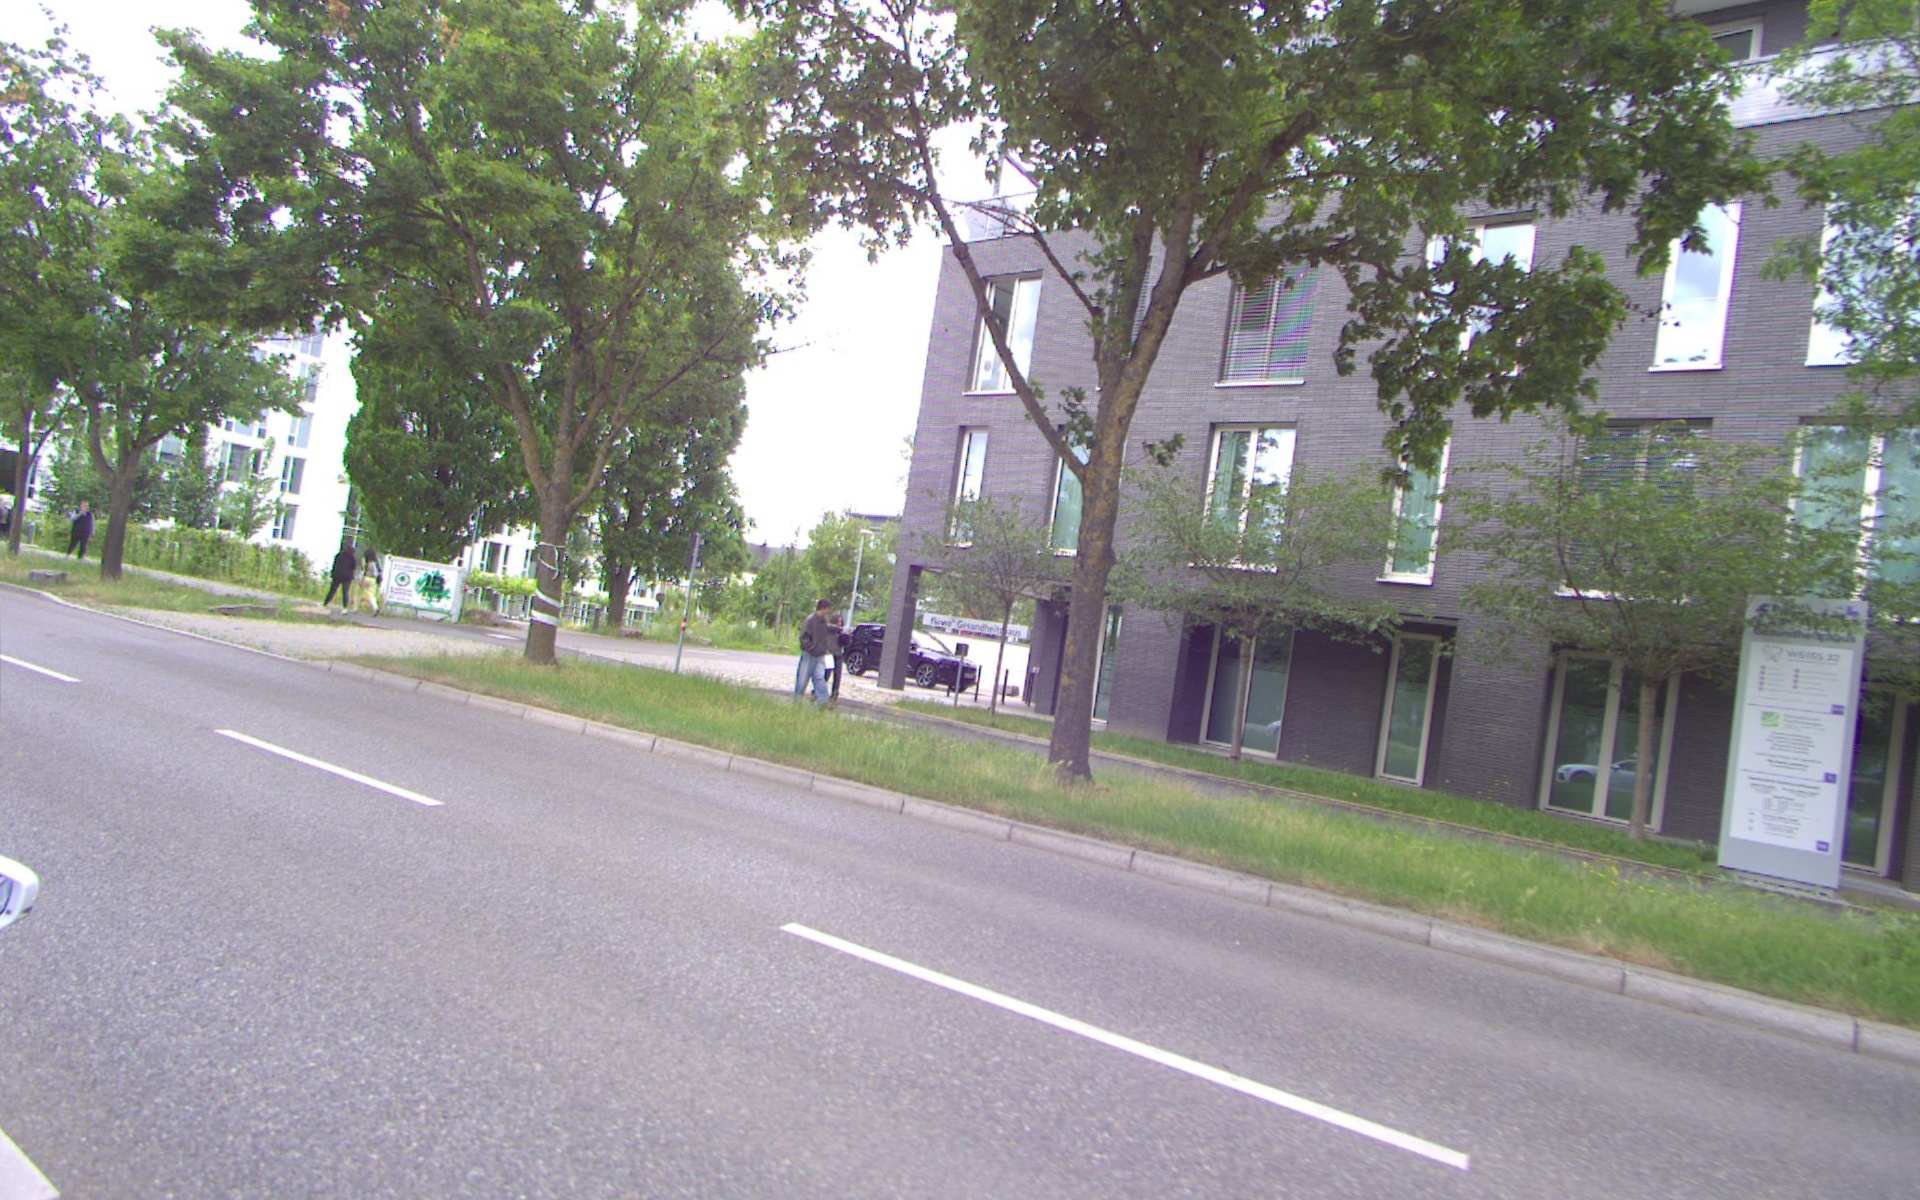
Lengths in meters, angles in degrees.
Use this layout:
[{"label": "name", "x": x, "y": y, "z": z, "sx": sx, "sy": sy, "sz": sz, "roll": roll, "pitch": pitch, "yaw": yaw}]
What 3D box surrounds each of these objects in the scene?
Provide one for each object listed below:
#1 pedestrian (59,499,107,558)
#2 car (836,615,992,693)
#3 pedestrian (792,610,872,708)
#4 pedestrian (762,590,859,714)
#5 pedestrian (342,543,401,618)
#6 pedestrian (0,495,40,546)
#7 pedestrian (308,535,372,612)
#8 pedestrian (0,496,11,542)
[{"label": "pedestrian", "x": -25.559, "y": -2.077, "z": 29.309, "sx": 0.663, "sy": 1.592, "sz": 0.743, "roll": 6, "pitch": -2, "yaw": 31}, {"label": "car", "x": -1.348, "y": 1.551, "z": 28.935, "sx": 4.081, "sy": 1.665, "sz": 1.759, "roll": 6, "pitch": -3, "yaw": 32}, {"label": "pedestrian", "x": -2.225, "y": 1.032, "z": 17.538, "sx": 0.861, "sy": 1.575, "sz": 0.834, "roll": 6, "pitch": -2, "yaw": 33}, {"label": "pedestrian", "x": -2.461, "y": 0.861, "z": 16.589, "sx": 0.963, "sy": 1.889, "sz": 0.961, "roll": 6, "pitch": -2, "yaw": 33}, {"label": "pedestrian", "x": -14.428, "y": -0.473, "z": 24.676, "sx": 0.938, "sy": 1.679, "sz": 0.779, "roll": 6, "pitch": -2, "yaw": 38}, {"label": "pedestrian", "x": -34.357, "y": -2.887, "z": 36.732, "sx": 0.869, "sy": 1.704, "sz": 0.768, "roll": 6, "pitch": -2, "yaw": 31}, {"label": "pedestrian", "x": -14.792, "y": -0.623, "z": 23.992, "sx": 1.043, "sy": 1.679, "sz": 0.796, "roll": 6, "pitch": -2, "yaw": 38}, {"label": "pedestrian", "x": -34.756, "y": -2.967, "z": 36.092, "sx": 0.869, "sy": 1.614, "sz": 0.701, "roll": 6, "pitch": -2, "yaw": 31}]
